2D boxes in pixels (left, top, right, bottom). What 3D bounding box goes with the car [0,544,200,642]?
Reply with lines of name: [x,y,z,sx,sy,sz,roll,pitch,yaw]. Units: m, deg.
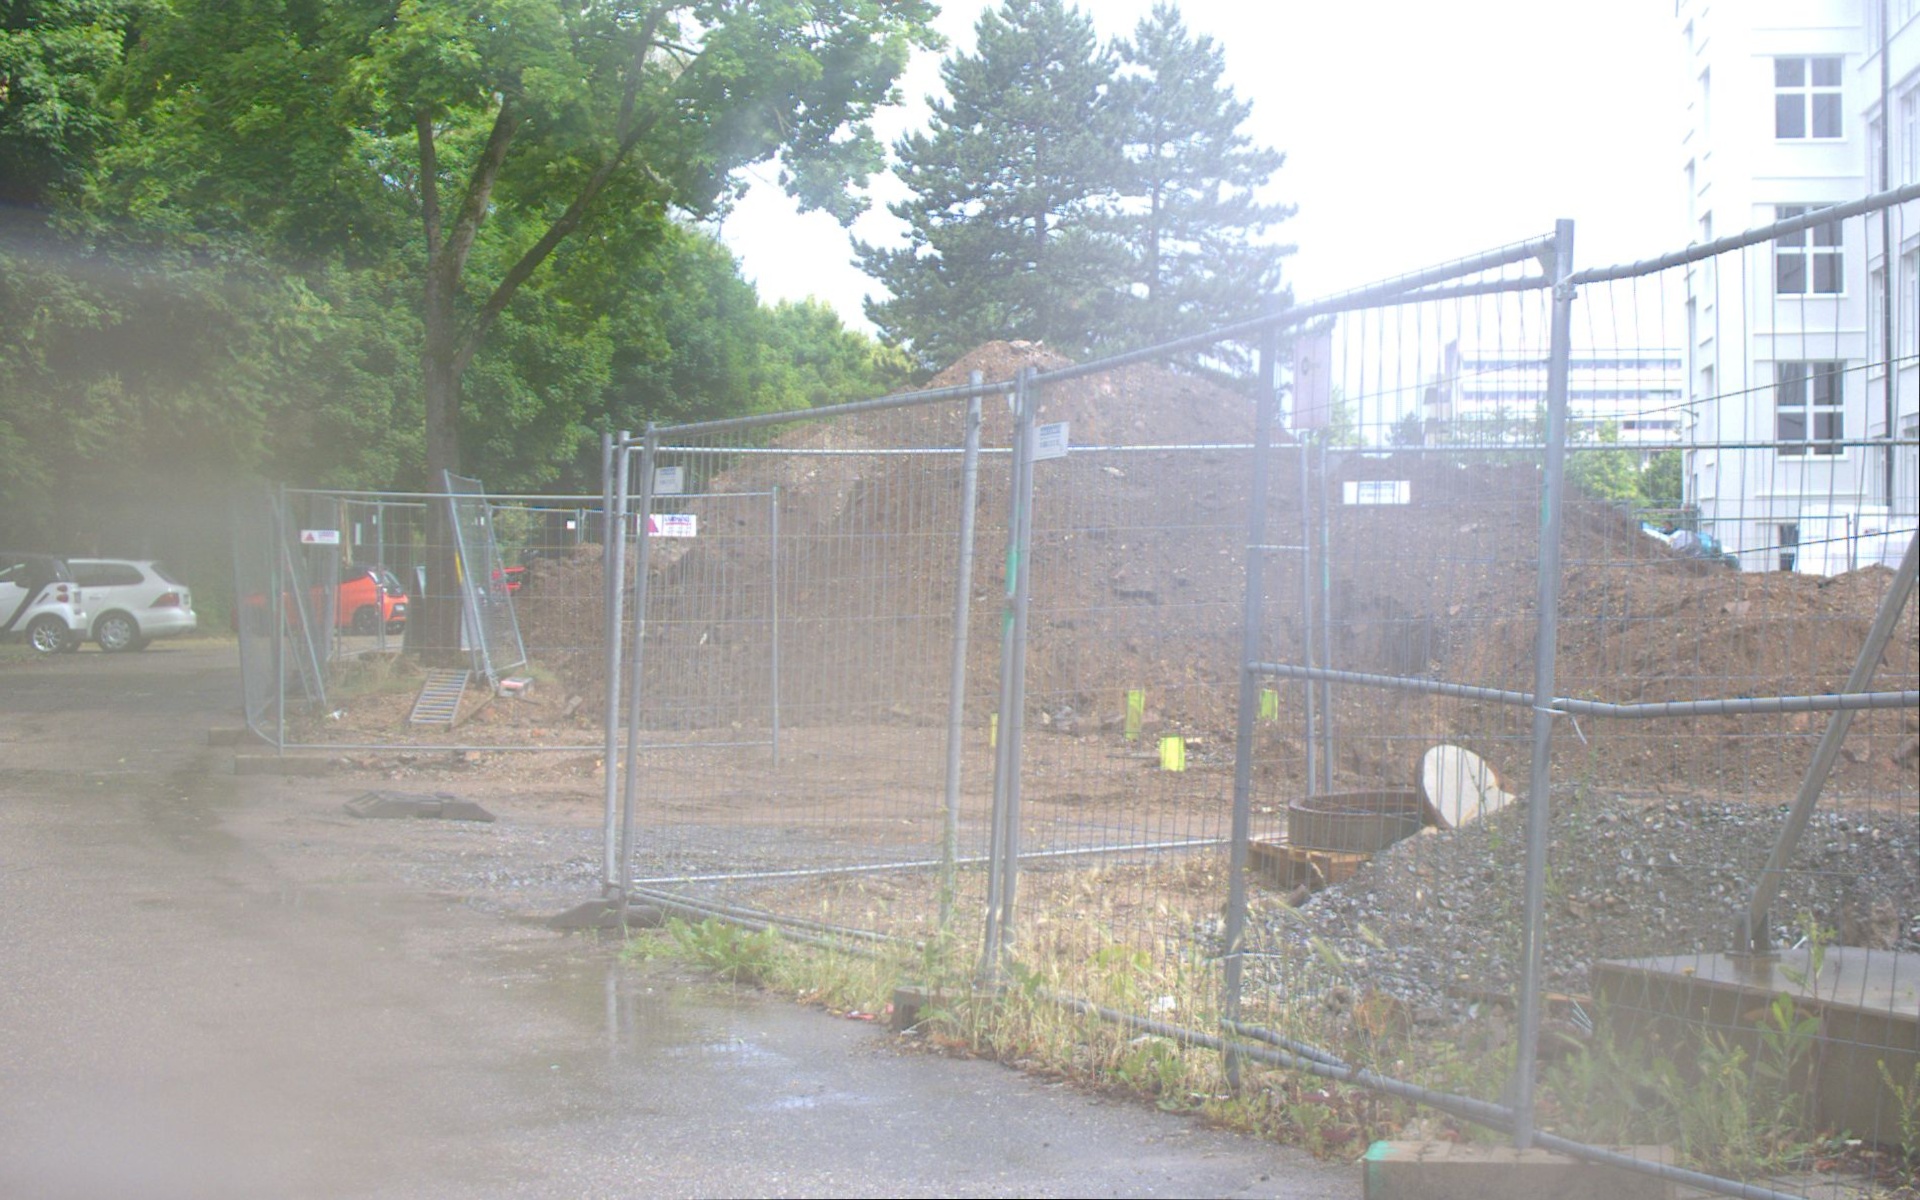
car: [-13.673,-0.117,53.526,3.431,1.463,1.741,0,2,-7]

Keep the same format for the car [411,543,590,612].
car: [-10.868,-0.543,81.425,3.942,1.511,1.806,1,2,1]

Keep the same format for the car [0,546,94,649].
car: [-14.404,-0.048,51.147,2.753,1.479,1.593,0,2,-7]

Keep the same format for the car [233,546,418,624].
car: [-12.649,-0.309,68.602,3.285,1.420,1.592,2,2,8]

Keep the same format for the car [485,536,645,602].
car: [-10.253,-0.811,89.463,3.857,1.568,1.958,1,2,2]

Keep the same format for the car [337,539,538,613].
car: [-11.438,-0.539,75.402,3.988,1.491,1.993,2,2,5]

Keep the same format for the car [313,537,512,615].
car: [-11.640,-0.523,73.208,3.794,1.524,1.909,2,2,6]

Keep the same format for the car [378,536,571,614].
car: [-11.099,-0.582,78.761,4.107,1.644,1.847,1,2,0]
